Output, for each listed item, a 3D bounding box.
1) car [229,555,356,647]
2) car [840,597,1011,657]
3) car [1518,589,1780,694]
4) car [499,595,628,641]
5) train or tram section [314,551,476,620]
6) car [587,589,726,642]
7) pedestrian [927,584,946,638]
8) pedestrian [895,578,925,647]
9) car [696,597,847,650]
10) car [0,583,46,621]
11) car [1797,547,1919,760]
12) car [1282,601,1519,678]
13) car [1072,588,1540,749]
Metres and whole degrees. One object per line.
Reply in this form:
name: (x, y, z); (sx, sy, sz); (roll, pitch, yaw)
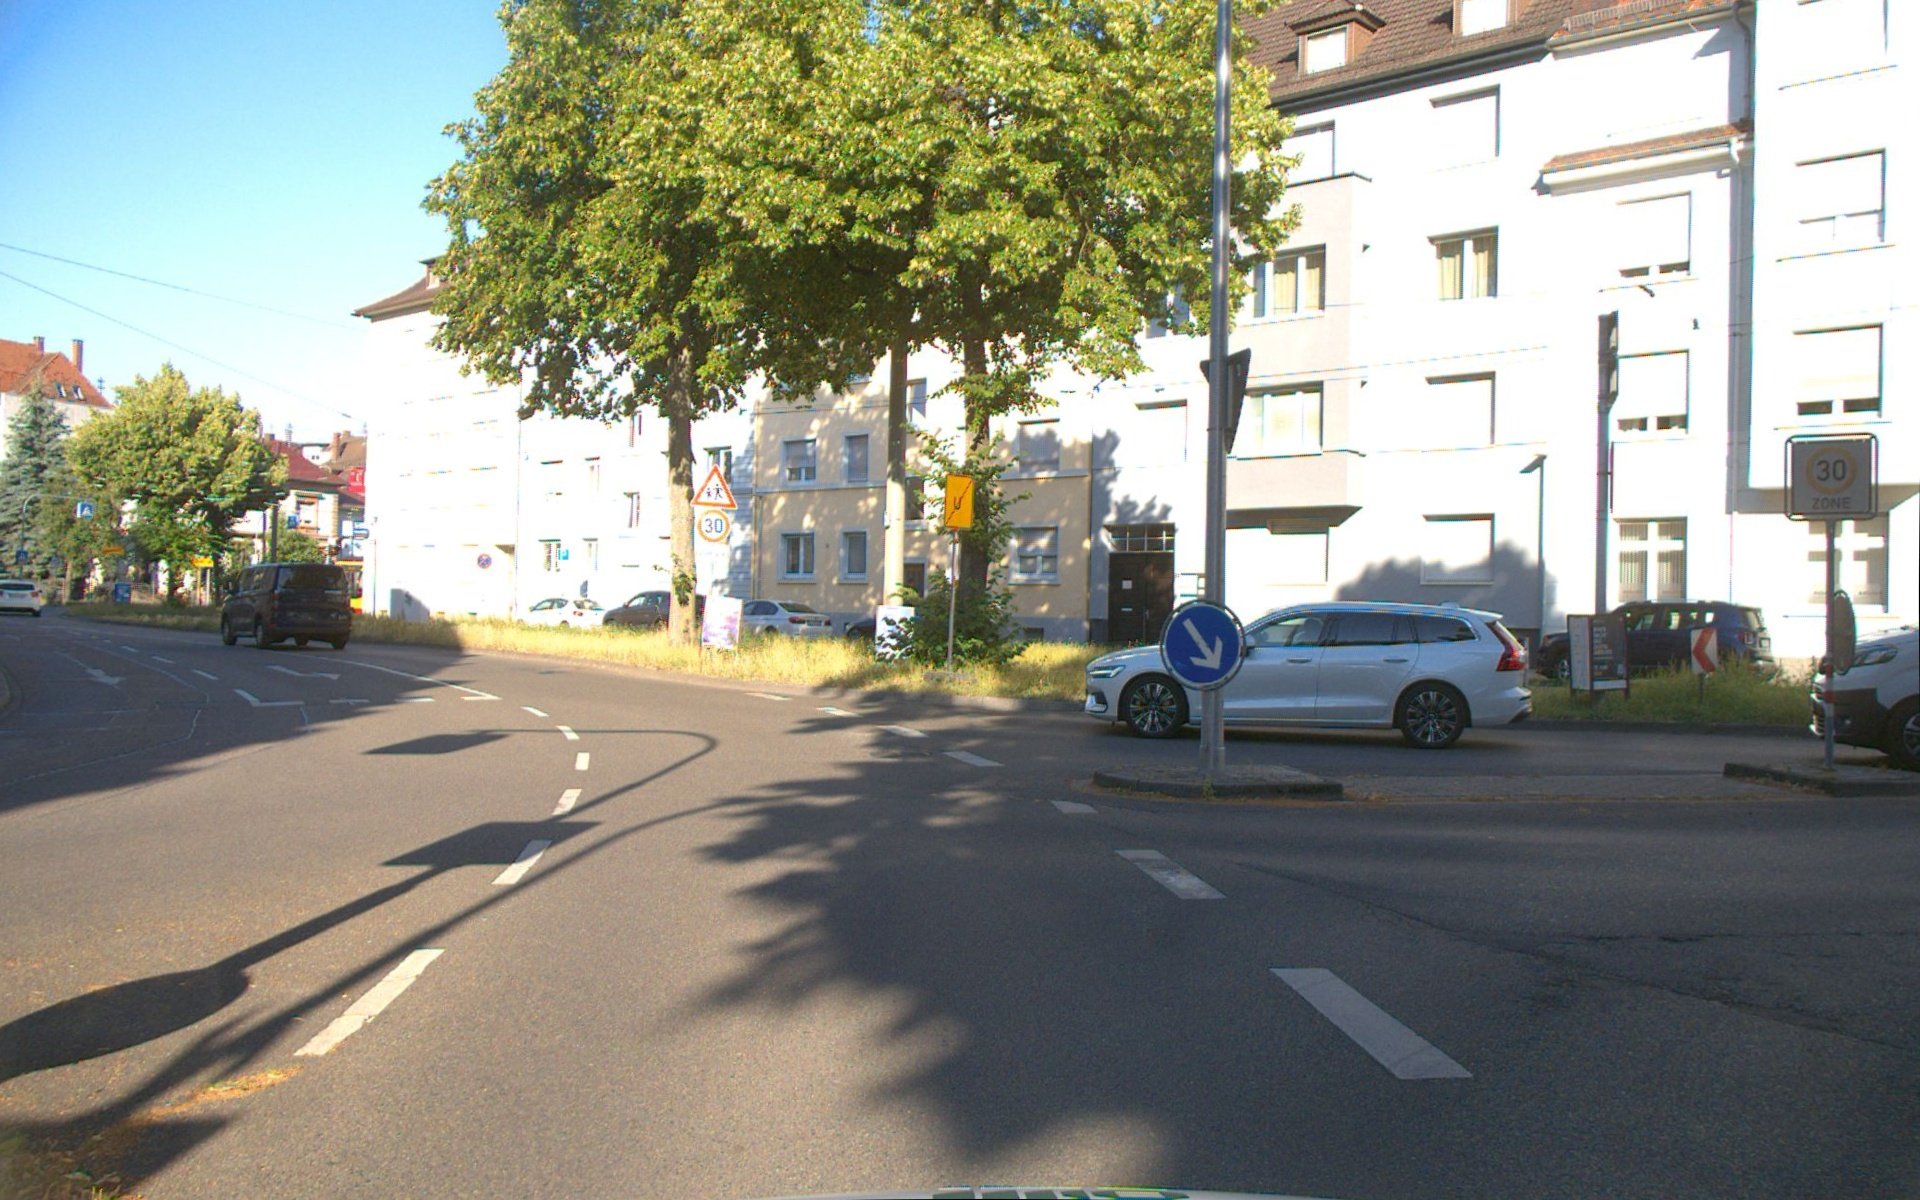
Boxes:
car: (-16.050, 0.002, 39.694); (1.976, 2.049, 3.952); (2, -1, -34)
car: (-0.954, 0.689, 43.784); (4.367, 1.410, 1.988); (2, 1, 42)
car: (12.915, 0.724, 31.116); (4.134, 1.779, 1.988); (2, 1, 42)
car: (-13.405, 0.594, 55.858); (4.362, 1.410, 1.990); (2, 1, 39)
train or tram section: (-31.133, -0.709, 91.760); (2.718, 3.618, 9.919); (1, 0, 21)
car: (-9.626, 0.455, 52.328); (4.558, 1.599, 1.988); (0, 0, 42)
pedestrian: (-0.682, 0.325, 47.574); (0.434, 1.541, 0.304); (1, 0, 35)
pedestrian: (-1.479, 0.370, 48.963); (0.638, 2.049, 0.610); (0, -1, 42)
car: (-5.557, 0.659, 48.477); (4.367, 1.410, 1.988); (2, 1, 42)
car: (-39.247, 0.062, 68.736); (1.934, 1.531, 3.655); (0, 1, -25)
car: (10.364, 0.512, 14.996); (4.788, 1.886, 1.999); (1, 1, 23)
car: (9.143, 0.776, 34.498); (4.367, 1.410, 1.988); (2, 1, 42)
car: (3.678, 0.667, 17.779); (4.656, 1.489, 1.856); (1, 1, 14)
